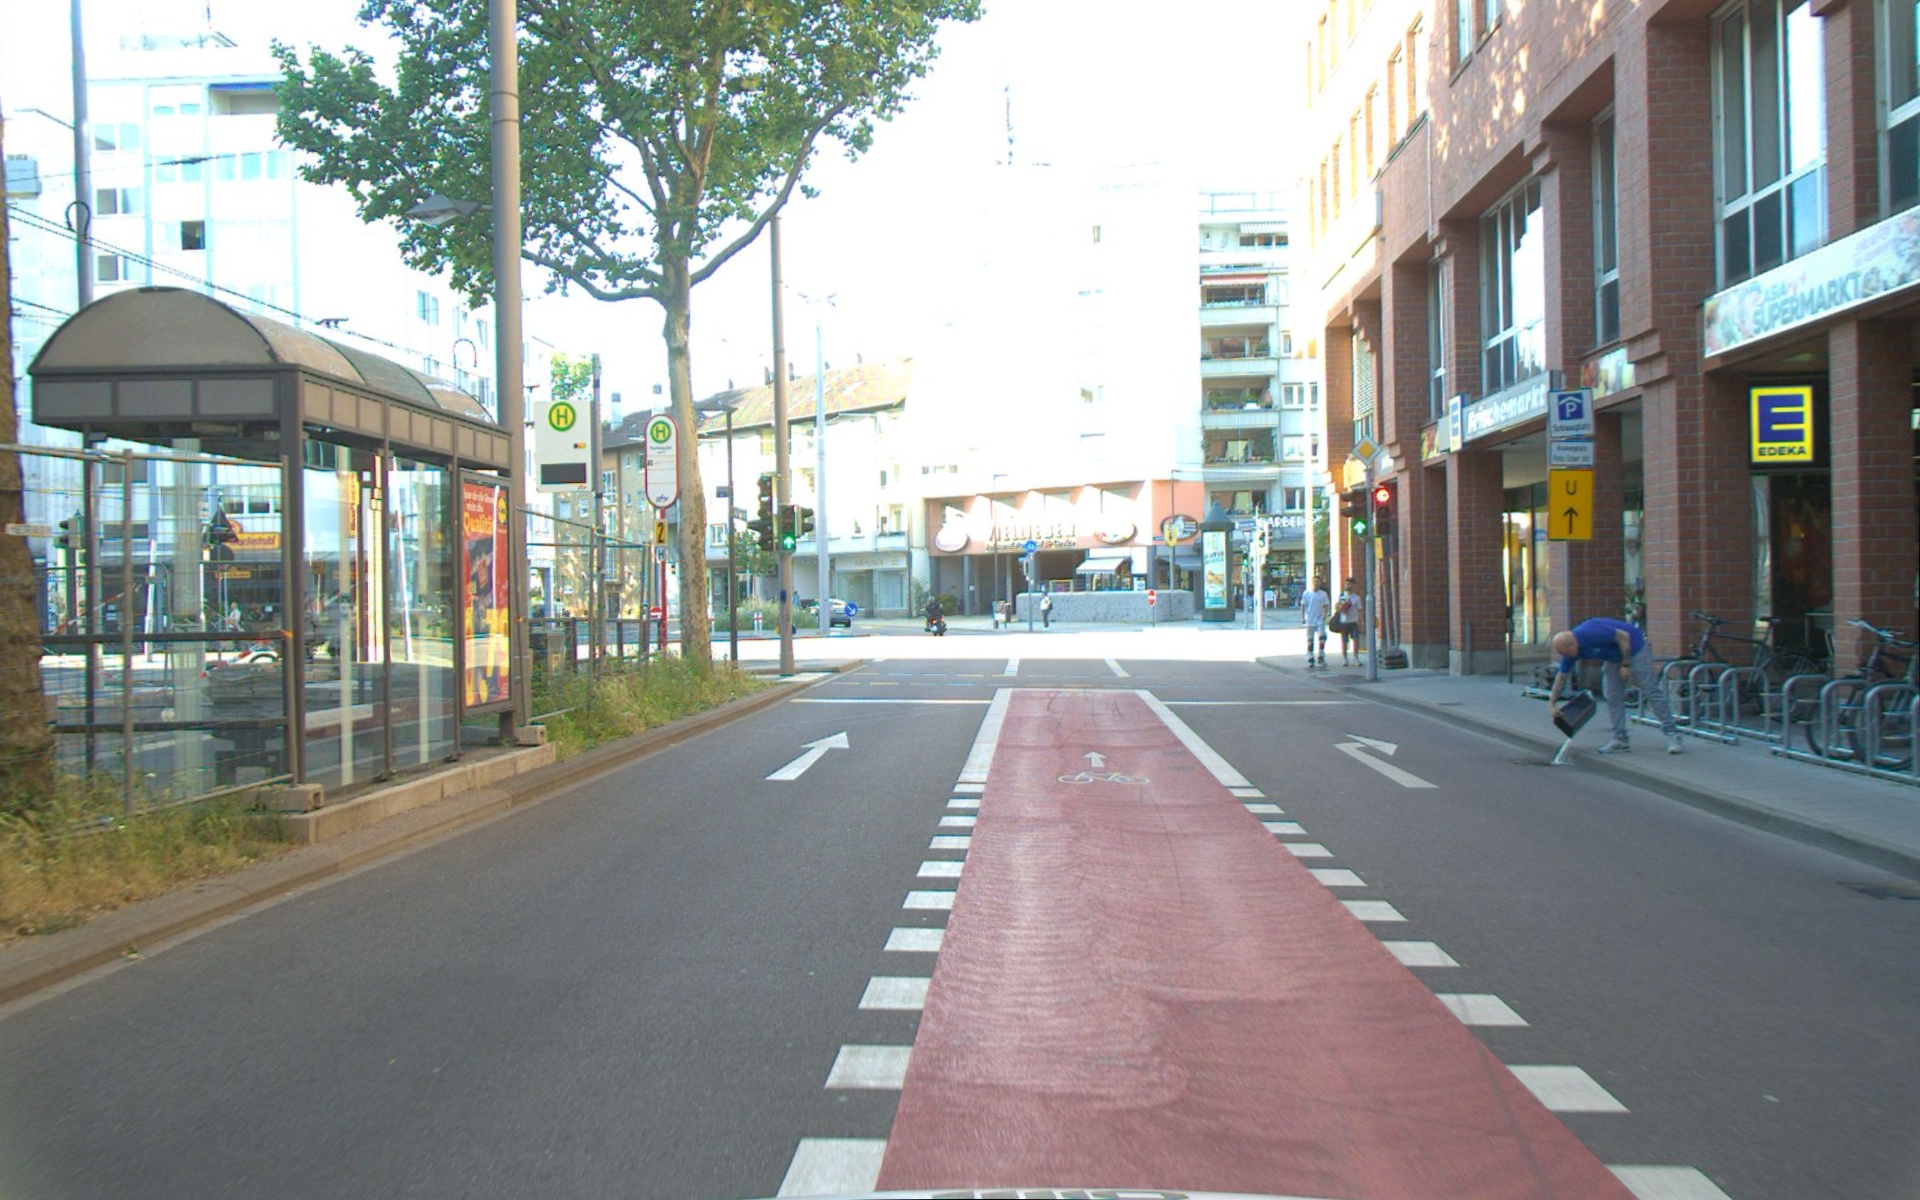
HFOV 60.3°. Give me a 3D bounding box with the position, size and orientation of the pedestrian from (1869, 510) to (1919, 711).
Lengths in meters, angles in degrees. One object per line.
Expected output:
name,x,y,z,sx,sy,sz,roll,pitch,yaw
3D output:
pedestrian,9.984,0.097,17.238,0.595,2.049,0.660,-1,0,-3

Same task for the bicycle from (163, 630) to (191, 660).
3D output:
bicycle,-30.189,1.717,63.771,0.585,1.071,1.998,-1,1,-15

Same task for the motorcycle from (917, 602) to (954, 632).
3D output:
motorcycle,-0.975,0.663,64.796,0.956,1.151,2.797,0,0,-11

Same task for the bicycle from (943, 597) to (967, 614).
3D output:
bicycle,-0.300,0.327,99.813,0.492,1.057,1.613,-1,0,-41

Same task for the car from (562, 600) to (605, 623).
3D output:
car,-24.778,0.774,108.909,1.795,1.410,4.595,-2,0,0

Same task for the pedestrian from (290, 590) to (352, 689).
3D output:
pedestrian,-11.770,0.717,30.475,0.762,1.765,0.848,-2,0,0

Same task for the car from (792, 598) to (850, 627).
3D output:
car,-7.291,0.646,86.394,1.897,1.413,3.972,-1,0,-22

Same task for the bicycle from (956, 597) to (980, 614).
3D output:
bicycle,0.470,0.344,100.188,0.492,1.057,1.613,-1,0,-41

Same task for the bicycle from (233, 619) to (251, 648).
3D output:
bicycle,-27.888,1.288,64.266,0.586,1.071,1.992,-2,1,-22

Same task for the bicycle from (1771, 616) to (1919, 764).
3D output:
bicycle,7.641,0.710,13.409,1.852,1.138,0.475,-2,0,2

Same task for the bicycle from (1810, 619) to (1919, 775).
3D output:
bicycle,7.640,0.719,12.734,1.852,1.138,0.550,-2,0,2

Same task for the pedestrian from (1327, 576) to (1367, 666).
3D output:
pedestrian,7.702,0.407,32.938,0.620,1.755,0.630,-1,0,2

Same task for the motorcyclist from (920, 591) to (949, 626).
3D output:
motorcyclist,-0.989,0.322,64.780,0.953,1.370,1.134,0,0,-12

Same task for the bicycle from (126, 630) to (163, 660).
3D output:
bicycle,-31.191,1.706,63.286,0.583,1.071,2.004,-1,1,-6

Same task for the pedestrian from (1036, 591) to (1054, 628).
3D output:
pedestrian,3.788,0.418,73.742,0.536,1.611,0.549,-1,0,-40

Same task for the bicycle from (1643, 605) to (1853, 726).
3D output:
bicycle,7.979,0.657,16.787,1.852,1.138,0.475,-2,0,2

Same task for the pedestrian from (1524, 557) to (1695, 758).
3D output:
pedestrian,5.950,0.512,15.220,1.169,1.726,0.886,-4,0,6

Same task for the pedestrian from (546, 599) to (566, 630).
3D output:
pedestrian,-23.180,0.848,94.812,0.763,1.754,0.802,-1,0,44

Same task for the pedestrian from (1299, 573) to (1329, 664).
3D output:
pedestrian,7.152,0.369,33.412,0.466,1.824,0.541,-1,0,2

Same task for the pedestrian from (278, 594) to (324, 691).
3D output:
pedestrian,-11.804,0.754,29.633,0.554,1.709,0.531,-2,0,4

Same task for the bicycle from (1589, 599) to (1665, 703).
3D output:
bicycle,8.142,0.597,20.251,0.332,1.204,1.679,-2,0,4

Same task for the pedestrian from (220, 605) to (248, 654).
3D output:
pedestrian,-27.268,1.097,62.118,0.615,1.823,0.785,-1,0,4
